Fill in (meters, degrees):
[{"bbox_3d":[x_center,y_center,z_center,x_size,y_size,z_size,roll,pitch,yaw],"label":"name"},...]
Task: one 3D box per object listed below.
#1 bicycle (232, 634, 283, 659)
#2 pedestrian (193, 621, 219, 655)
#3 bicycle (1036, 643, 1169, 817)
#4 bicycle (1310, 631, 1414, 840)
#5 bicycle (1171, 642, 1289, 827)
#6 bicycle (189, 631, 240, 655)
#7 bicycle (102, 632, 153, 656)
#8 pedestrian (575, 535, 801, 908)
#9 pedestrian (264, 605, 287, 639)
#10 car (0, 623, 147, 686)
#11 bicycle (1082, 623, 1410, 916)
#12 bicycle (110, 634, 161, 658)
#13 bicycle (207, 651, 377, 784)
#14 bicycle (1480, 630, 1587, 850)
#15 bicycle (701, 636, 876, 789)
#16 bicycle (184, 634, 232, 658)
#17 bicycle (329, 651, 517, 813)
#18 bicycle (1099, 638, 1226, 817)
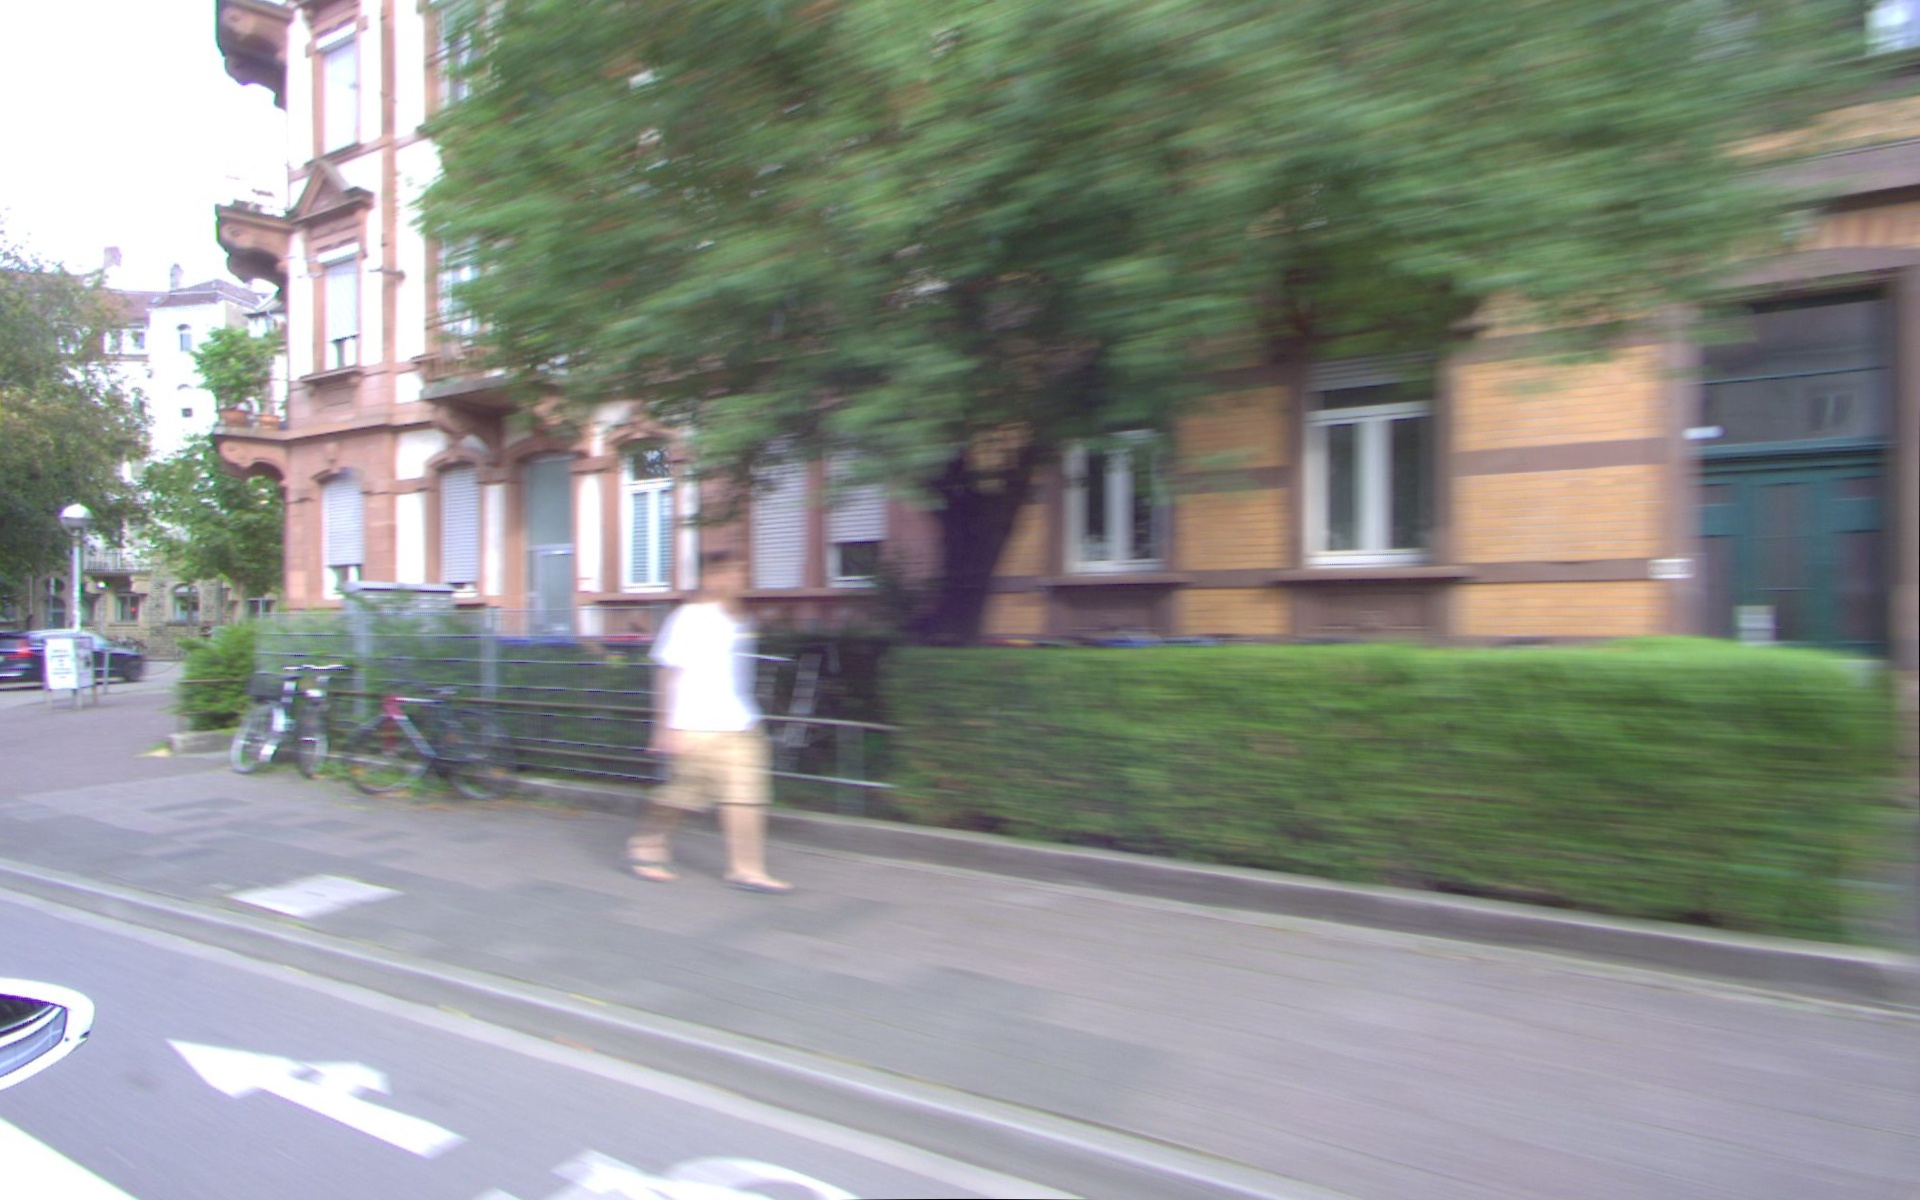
[{"bbox_3d":[-32.545,2.149,46.424,0.525,1.142,1.885,0,-1,30],"label":"bicycle"},{"bbox_3d":[-38.386,1.915,50.963,0.821,1.697,0.731,0,-1,22],"label":"pedestrian"},{"bbox_3d":[1.018,0.825,6.890,0.437,1.022,1.544,0,-1,27],"label":"bicycle"},{"bbox_3d":[2.683,0.808,6.608,0.509,1.196,1.544,0,-1,27],"label":"bicycle"},{"bbox_3d":[1.792,0.803,6.510,0.437,1.022,1.544,0,-1,27],"label":"bicycle"},{"bbox_3d":[-35.356,2.030,47.530,0.525,1.142,1.883,0,-1,34],"label":"bicycle"},{"bbox_3d":[-40.936,2.133,49.270,0.524,1.142,1.888,0,-1,25],"label":"bicycle"},{"bbox_3d":[-1.446,0.592,5.343,0.936,1.777,0.729,0,0,34],"label":"pedestrian"},{"bbox_3d":[-33.311,1.088,48.738,0.826,1.644,0.726,1,-1,-41],"label":"pedestrian"},{"bbox_3d":[-22.846,1.313,25.263,1.725,1.459,4.477,0,-1,-11],"label":"car"},{"bbox_3d":[1.426,0.771,5.085,1.527,1.298,0.515,0,0,31],"label":"bicycle"},{"bbox_3d":[-40.393,2.230,49.060,0.524,1.142,1.888,0,-1,25],"label":"bicycle"},{"bbox_3d":[-6.328,1.067,9.476,1.646,1.121,0.670,0,-1,29],"label":"bicycle"},{"bbox_3d":[3.592,0.800,6.350,0.509,1.196,1.544,0,-1,27],"label":"bicycle"},{"bbox_3d":[-1.259,0.798,7.659,0.502,1.022,1.544,0,-1,27],"label":"bicycle"},{"bbox_3d":[-36.077,2.194,48.064,0.523,1.142,1.891,0,-1,17],"label":"bicycle"},{"bbox_3d":[-4.193,0.980,7.795,1.526,1.103,0.507,0,3,29],"label":"bicycle"},{"bbox_3d":[1.390,0.779,6.679,0.437,1.022,1.544,0,-1,27],"label":"bicycle"}]
